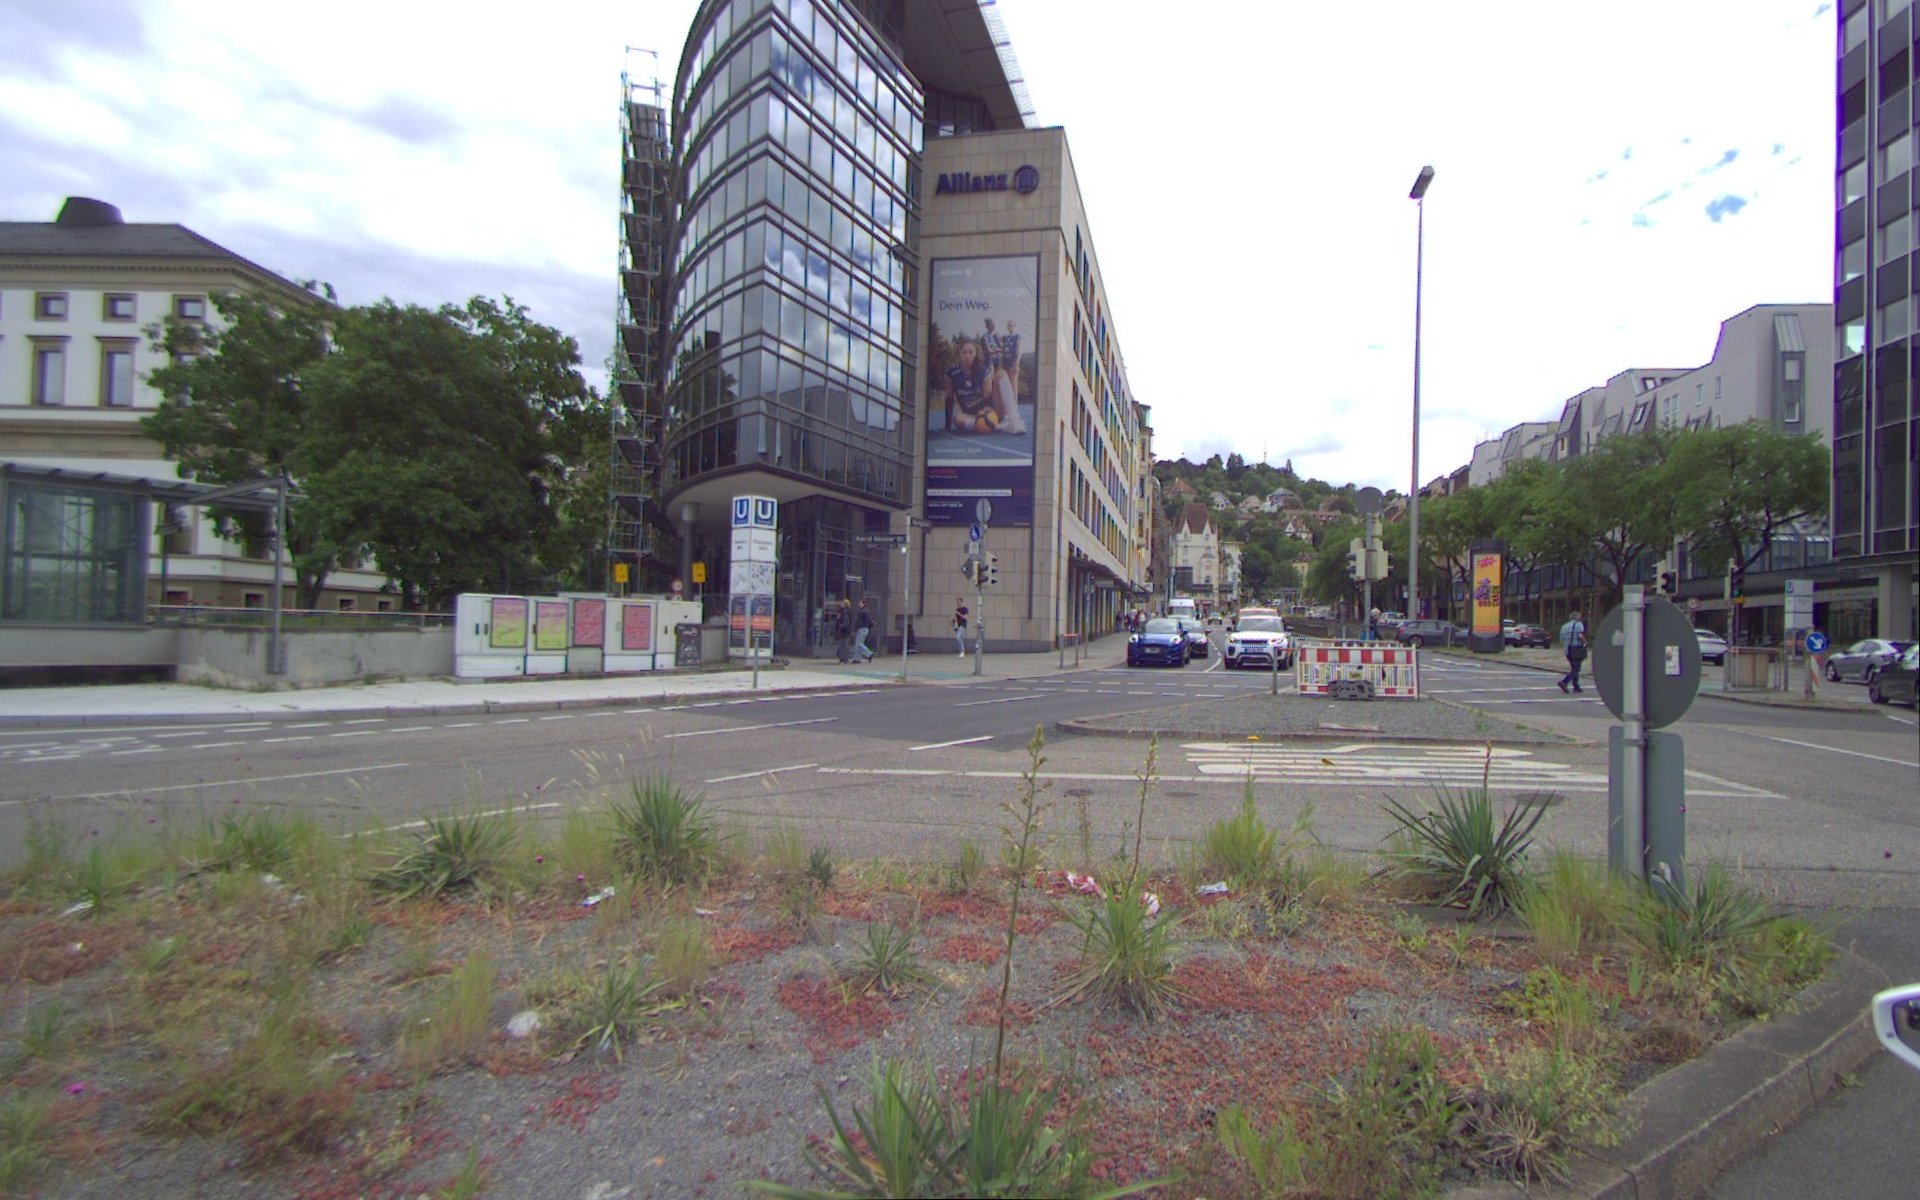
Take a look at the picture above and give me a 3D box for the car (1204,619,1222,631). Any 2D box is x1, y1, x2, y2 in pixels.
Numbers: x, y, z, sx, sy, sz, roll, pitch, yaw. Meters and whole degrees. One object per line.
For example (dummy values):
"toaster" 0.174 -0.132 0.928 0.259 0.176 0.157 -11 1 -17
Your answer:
"car" 35.029 3.386 139.106 1.885 1.547 4.545 1 0 8

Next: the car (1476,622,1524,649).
"car" 32.519 2.110 60.622 1.801 1.587 3.768 0 -1 16

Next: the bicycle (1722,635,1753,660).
"bicycle" 38.964 2.369 50.358 0.481 1.147 1.845 1 -1 12

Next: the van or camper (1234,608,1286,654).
"van or camper" 13.374 1.363 45.001 1.880 1.947 5.087 0 -1 13

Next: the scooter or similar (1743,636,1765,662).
"scooter or similar" 39.369 2.417 49.827 0.300 1.268 0.997 1 0 0

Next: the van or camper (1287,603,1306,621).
"van or camper" 61.051 2.172 182.440 2.582 3.221 5.806 1 0 13

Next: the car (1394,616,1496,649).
"car" 24.387 1.611 50.722 4.476 1.478 1.881 1 0 22

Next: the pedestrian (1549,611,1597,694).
"pedestrian" 13.692 1.167 22.460 0.703 1.814 0.635 -2 0 13

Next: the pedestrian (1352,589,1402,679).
"pedestrian" 10.351 0.842 24.937 0.862 2.201 0.762 1 0 -5

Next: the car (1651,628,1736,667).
"car" 31.648 2.003 43.439 1.801 1.537 3.768 0 -1 16

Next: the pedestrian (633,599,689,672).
"pedestrian" -6.940 0.834 23.329 0.644 1.634 0.963 1 -3 36

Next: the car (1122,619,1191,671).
"car" 6.516 1.429 33.044 1.960 1.545 4.093 1 -1 15

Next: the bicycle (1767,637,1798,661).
"bicycle" 40.687 2.405 49.680 0.481 1.147 1.689 1 -1 14

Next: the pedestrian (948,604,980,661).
"pedestrian" 0.126 1.066 32.844 0.916 1.834 0.695 1 0 -12

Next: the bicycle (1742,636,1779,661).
"bicycle" 39.876 2.393 50.054 0.481 1.147 1.888 1 -1 7

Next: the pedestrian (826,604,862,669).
"pedestrian" -3.125 0.977 27.086 0.754 1.723 0.632 1 0 17

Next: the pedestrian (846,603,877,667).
"pedestrian" -2.716 0.954 27.780 0.631 1.723 0.632 1 0 17

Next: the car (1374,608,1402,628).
"car" 41.019 1.738 96.325 1.801 1.899 4.873 0 -1 14

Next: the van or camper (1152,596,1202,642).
"van or camper" 14.049 1.226 64.941 2.951 2.762 6.249 1 0 13

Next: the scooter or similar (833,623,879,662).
"scooter or similar" -3.301 1.358 31.975 1.364 1.224 0.531 1 0 -18

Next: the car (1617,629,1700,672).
"car" 27.490 1.950 39.658 1.802 1.537 3.767 0 -1 20

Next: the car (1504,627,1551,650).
"car" 35.691 2.386 63.247 1.801 1.381 3.768 0 -1 18

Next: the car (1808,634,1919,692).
"car" 28.026 1.882 30.683 1.803 1.451 4.147 2 1 19

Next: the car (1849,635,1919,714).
"car" 19.978 1.527 20.327 1.805 1.414 4.143 2 1 25
